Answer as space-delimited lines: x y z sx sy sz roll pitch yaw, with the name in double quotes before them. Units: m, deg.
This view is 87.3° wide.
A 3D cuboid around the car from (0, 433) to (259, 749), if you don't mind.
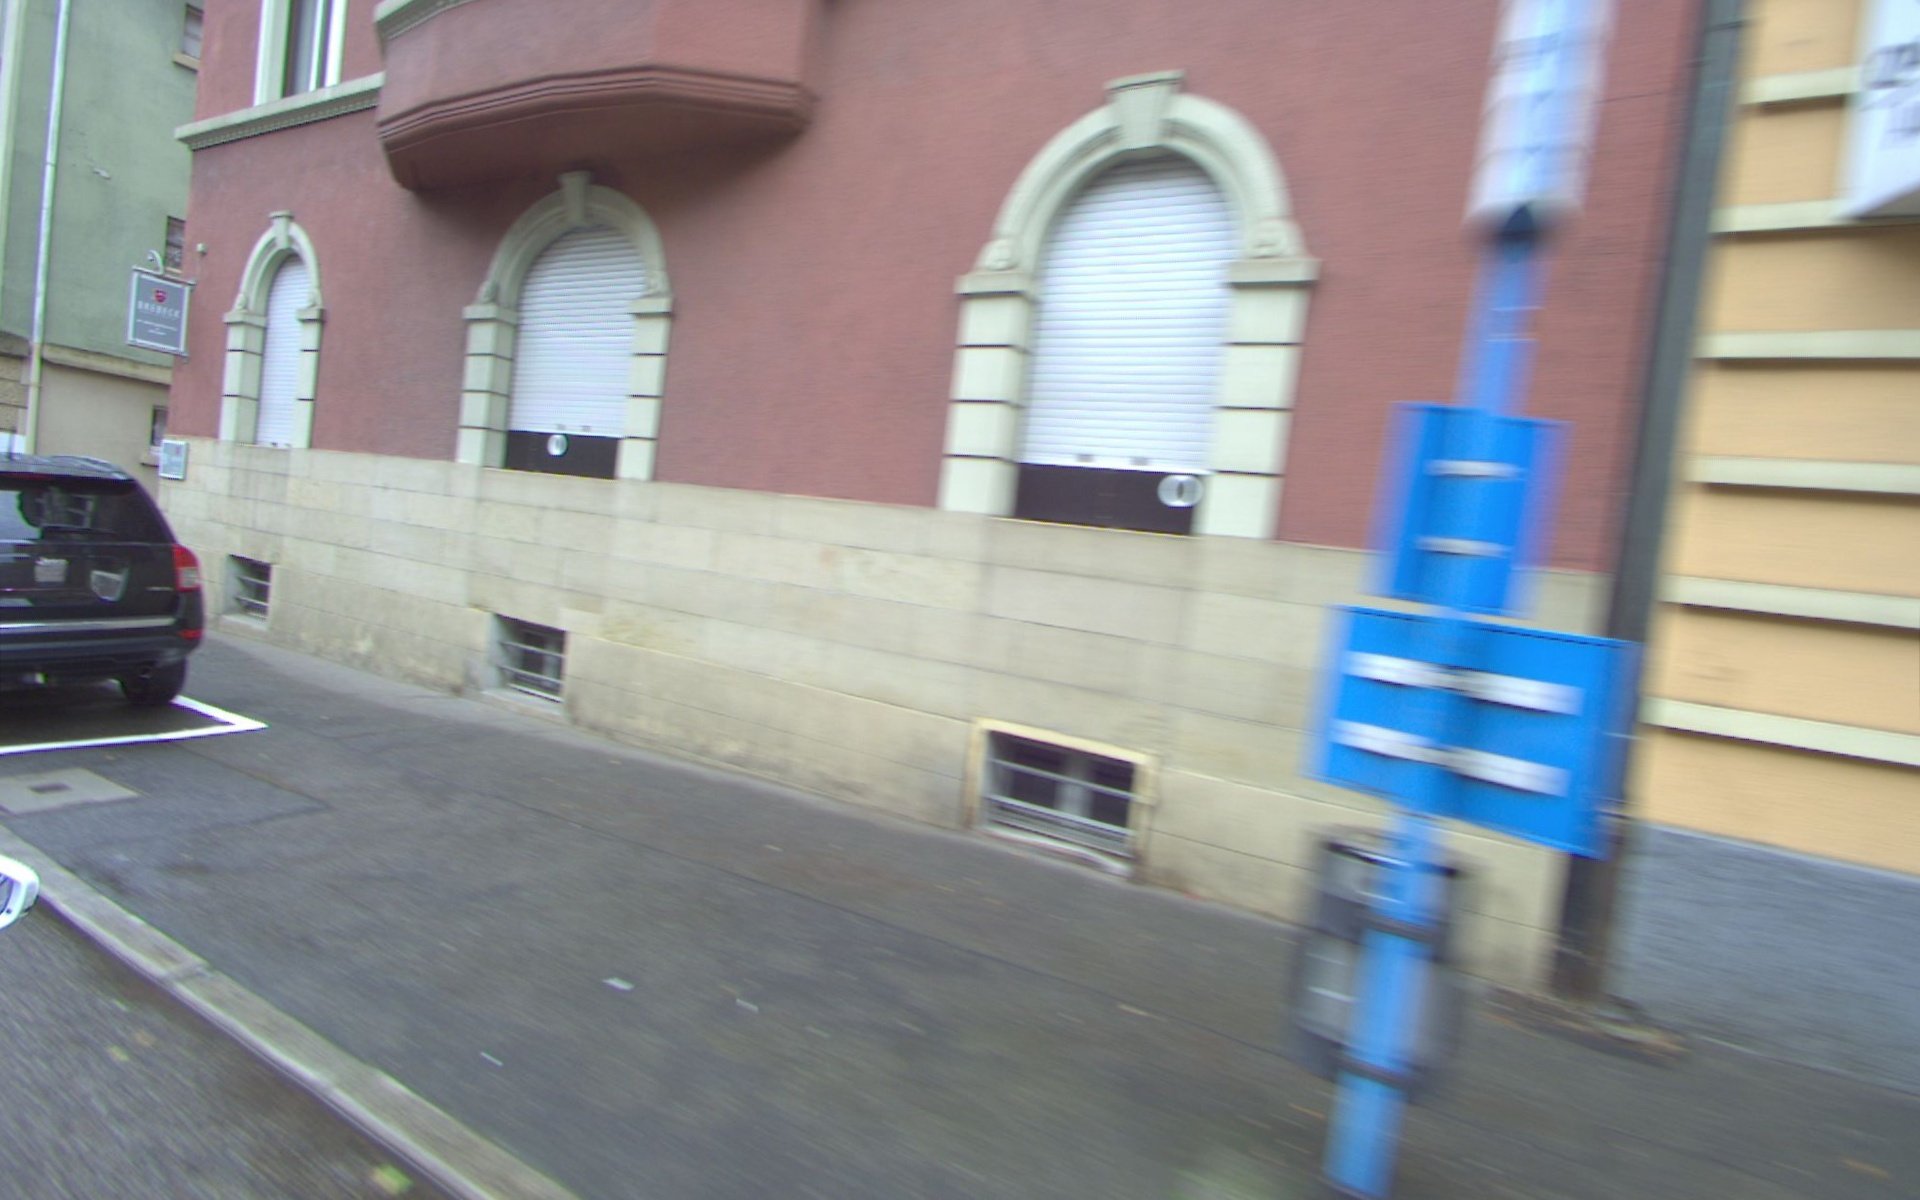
"car" -6.805 -0.221 6.683 4.621 1.652 1.876 5 3 32
